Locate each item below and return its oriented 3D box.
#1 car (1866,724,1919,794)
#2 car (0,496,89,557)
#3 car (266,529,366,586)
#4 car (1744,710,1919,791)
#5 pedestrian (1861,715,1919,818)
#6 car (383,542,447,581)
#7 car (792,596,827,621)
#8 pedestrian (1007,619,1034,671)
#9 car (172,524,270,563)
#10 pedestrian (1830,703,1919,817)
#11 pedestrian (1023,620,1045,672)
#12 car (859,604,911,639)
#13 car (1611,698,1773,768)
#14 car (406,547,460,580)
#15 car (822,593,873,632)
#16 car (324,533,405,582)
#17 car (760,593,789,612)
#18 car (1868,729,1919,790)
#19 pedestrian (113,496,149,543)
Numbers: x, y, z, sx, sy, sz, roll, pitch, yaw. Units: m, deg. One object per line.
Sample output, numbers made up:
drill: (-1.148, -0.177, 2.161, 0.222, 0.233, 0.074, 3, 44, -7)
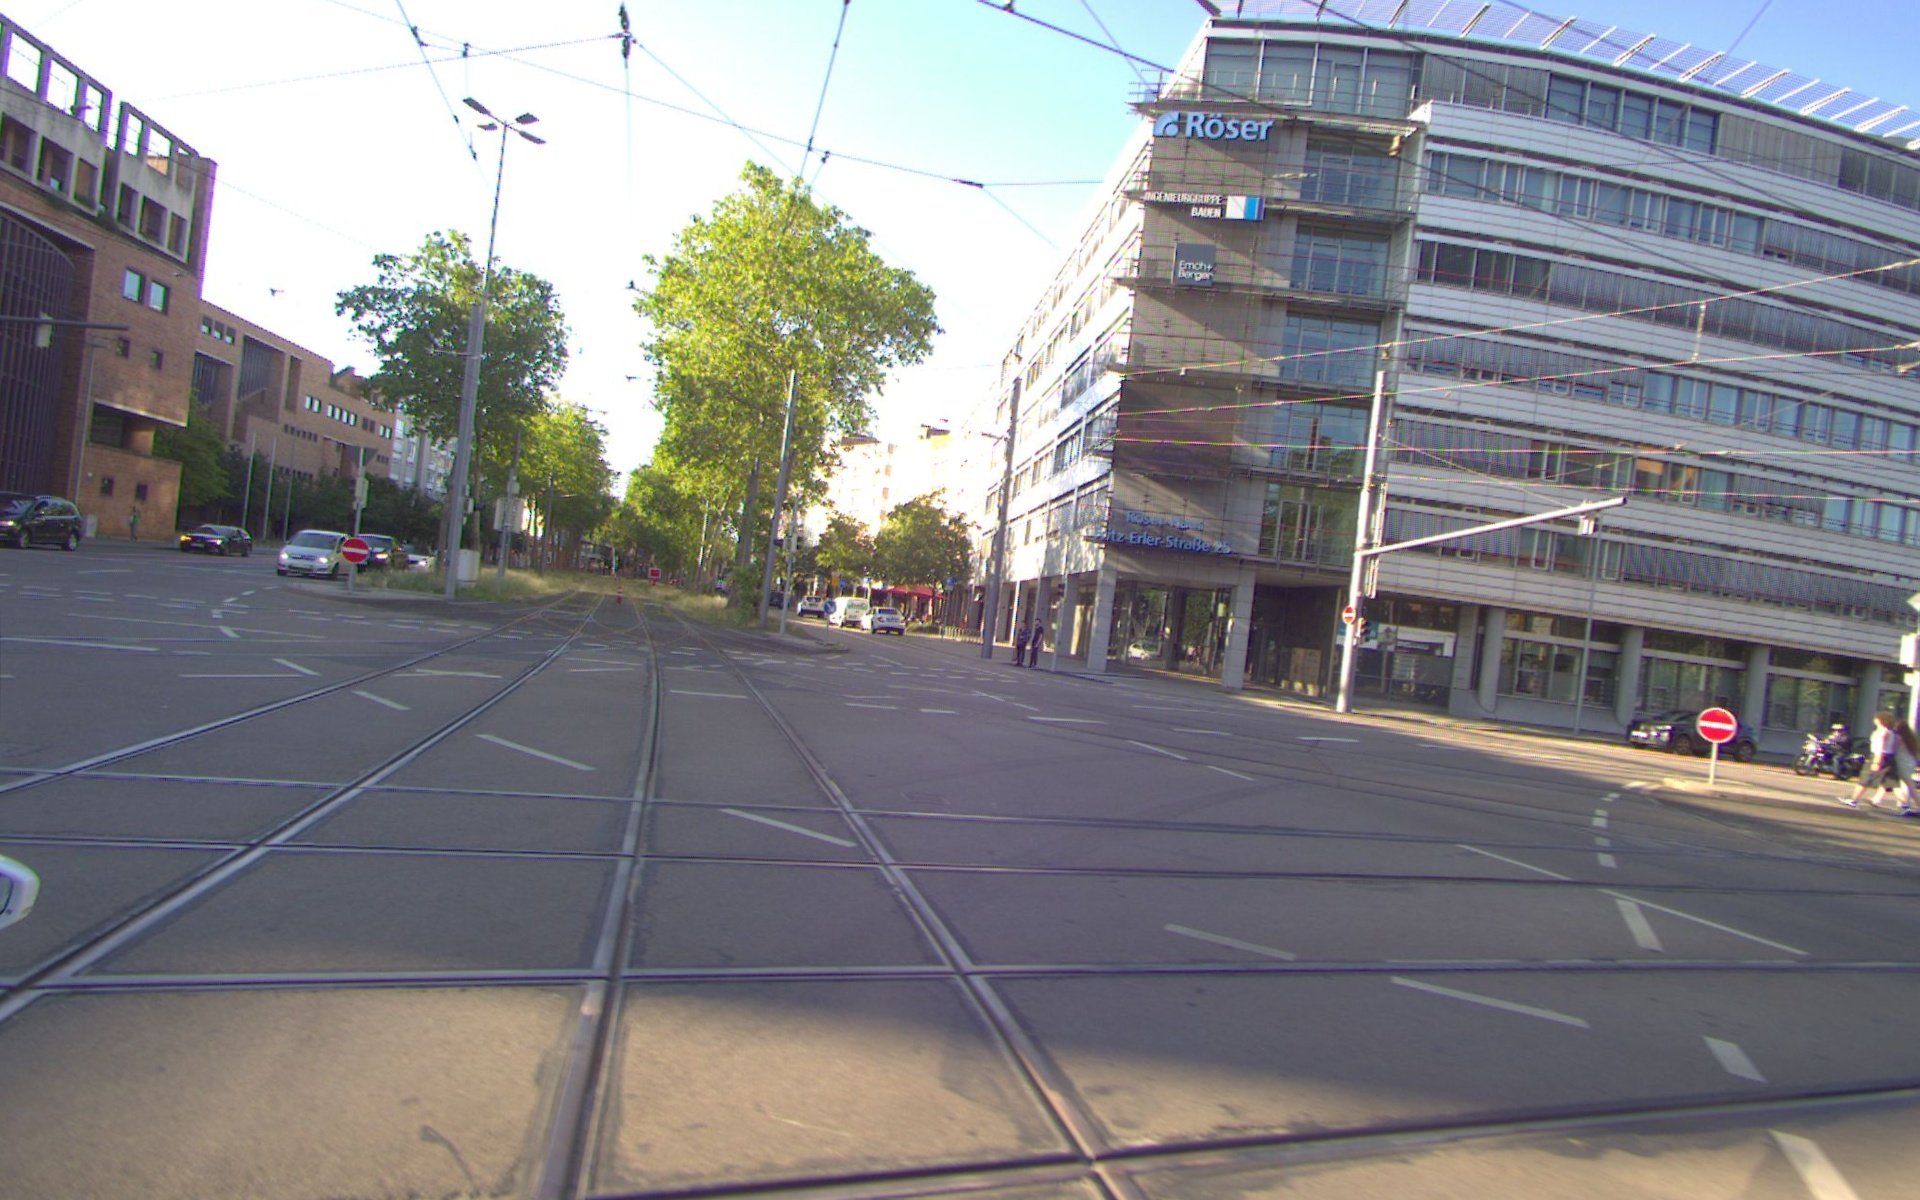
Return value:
car: (26.413, 4.392, 25.975, 4.446, 1.640, 1.903, 8, -1, -7)
car: (-30.028, -2.368, 31.976, 1.812, 1.674, 4.483, 6, -1, -18)
car: (-21.945, -1.415, 34.448, 1.710, 1.616, 4.309, 7, -1, -18)
car: (25.416, 4.356, 29.210, 3.799, 1.640, 1.903, 8, -1, -6)
pedestrian: (17.229, 3.033, 18.356, 0.639, 1.709, 0.841, 6, 0, -23)
car: (-26.608, -1.842, 49.239, 1.832, 1.571, 4.309, 7, -1, -18)
car: (-11.417, 0.652, 76.134, 1.832, 1.571, 4.310, 7, -1, -17)
pedestrian: (2.259, 1.685, 37.549, 0.539, 1.846, 0.584, 6, 0, -34)
car: (-35.196, -2.660, 48.027, 1.888, 1.392, 3.997, 7, -1, -6)
pedestrian: (16.585, 2.878, 18.185, 0.690, 1.865, 0.961, 6, 0, -26)
pedestrian: (2.712, 1.675, 36.910, 0.370, 1.846, 0.542, 6, 0, -34)
car: (-4.173, 1.165, 55.232, 1.832, 1.571, 4.310, 7, -1, -17)
car: (24.587, 4.458, 33.874, 4.099, 1.640, 1.903, 8, -1, -7)
car: (-29.289, -1.983, 56.004, 1.832, 1.571, 4.309, 7, -1, -18)
car: (-6.905, 0.744, 61.574, 1.972, 2.038, 4.366, 7, -1, -20)
car: (-24.411, -1.695, 41.404, 1.832, 1.670, 4.309, 7, -1, -18)
car: (-17.884, 0.240, 96.819, 2.234, 1.571, 4.313, 7, -1, -15)
car: (30.599, 5.133, 30.741, 4.099, 1.640, 1.903, 8, -1, -7)
pedestrian: (-39.299, -3.794, 47.690, 0.883, 2.038, 0.757, 7, 0, -3)
